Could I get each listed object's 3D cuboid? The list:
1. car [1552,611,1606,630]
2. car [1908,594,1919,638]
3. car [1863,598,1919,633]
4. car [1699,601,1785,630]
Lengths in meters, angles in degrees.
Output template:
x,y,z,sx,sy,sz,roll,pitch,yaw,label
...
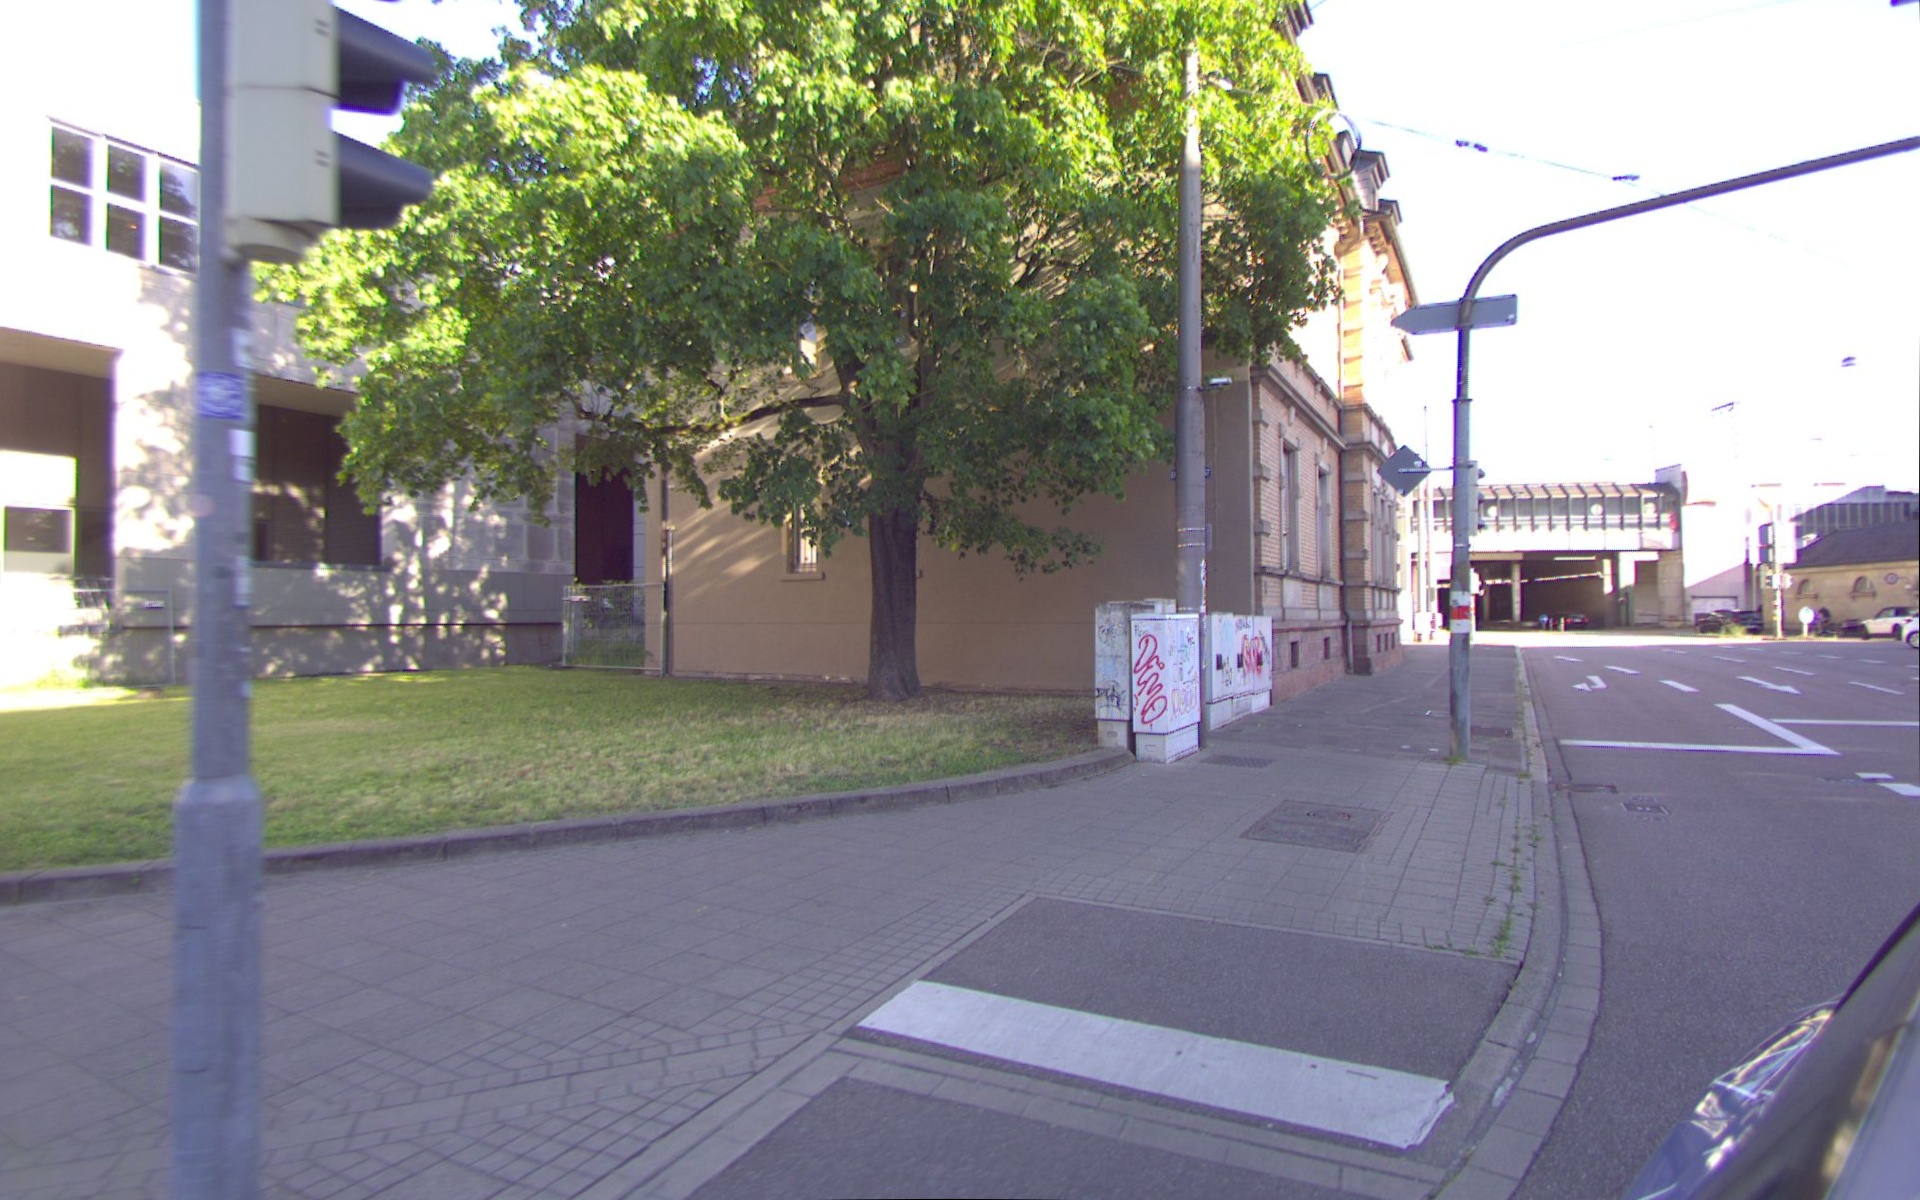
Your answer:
x,y,z,sx,sy,sz,roll,pitch,yaw,label
47.309,1.541,77.460,1.967,1.410,4.548,-1,-1,10,car
32.605,0.494,31.561,1.755,1.411,4.112,0,-1,-14,car
39.480,0.629,42.023,1.710,1.393,3.511,-1,-1,19,car
43.094,0.843,55.897,1.898,1.474,4.481,-1,-1,12,car
